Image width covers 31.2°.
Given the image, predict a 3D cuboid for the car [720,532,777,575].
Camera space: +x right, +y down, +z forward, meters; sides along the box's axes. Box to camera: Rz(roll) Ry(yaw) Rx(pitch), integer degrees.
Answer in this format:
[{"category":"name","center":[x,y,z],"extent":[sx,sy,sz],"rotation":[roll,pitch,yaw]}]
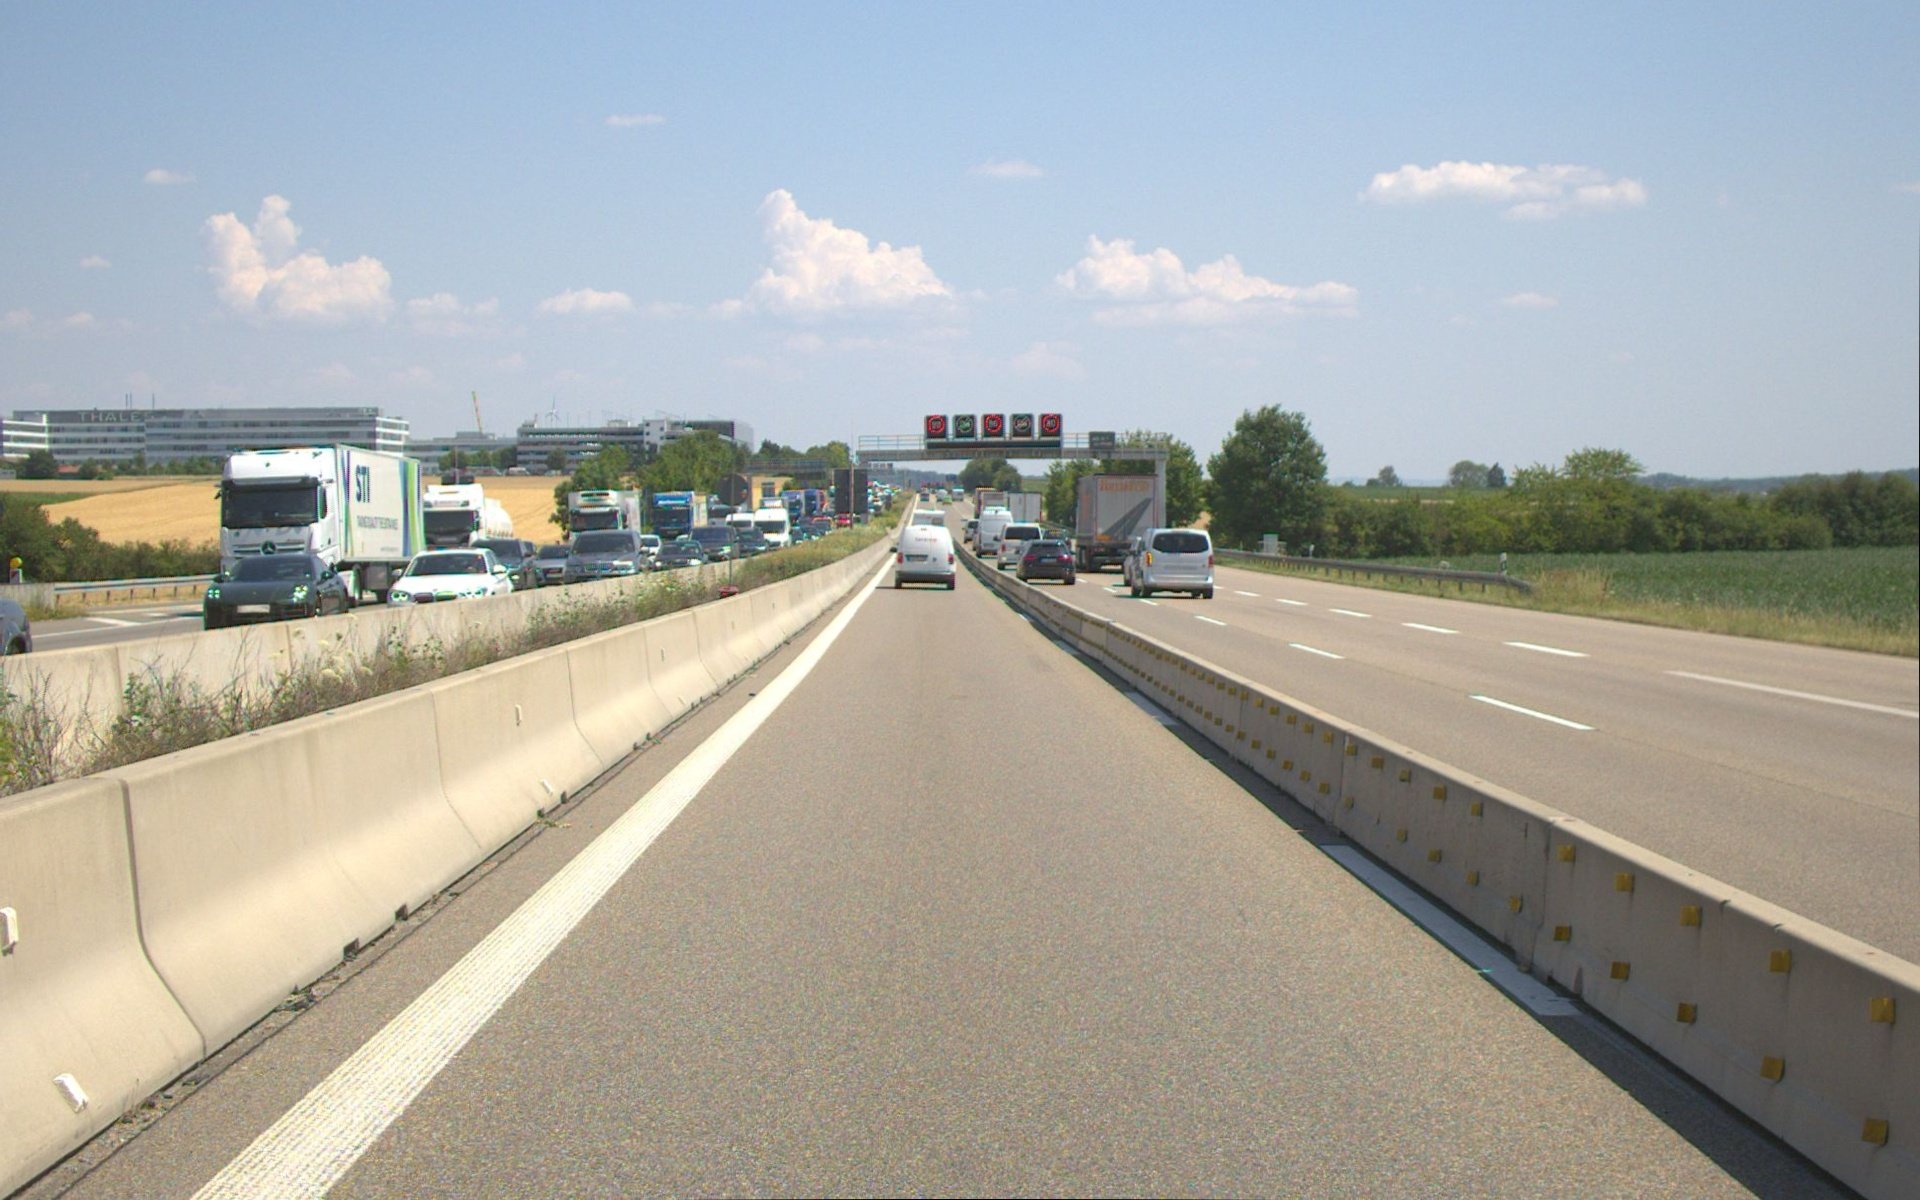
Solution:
[{"category":"car","center":[-7.925,-1.774,129.148],"extent":[1.843,1.564,5.345],"rotation":[0,1,0]}]

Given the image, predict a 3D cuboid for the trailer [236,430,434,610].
[{"category":"trailer","center":[-16.430,-2.104,91.394],"extent":[2.892,4.360,12.994],"rotation":[-2,1,-1]}]

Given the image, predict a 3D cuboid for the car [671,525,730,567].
[{"category":"car","center":[-8.592,-1.803,114.161],"extent":[1.655,1.347,4.267],"rotation":[0,1,0]}]

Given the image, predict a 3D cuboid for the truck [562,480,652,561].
[{"category":"truck","center":[-16.676,-3.768,163.109],"extent":[2.795,3.597,13.289],"rotation":[-2,1,0]}]

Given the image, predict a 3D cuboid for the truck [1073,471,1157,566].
[{"category":"truck","center":[6.606,-3.458,147.198],"extent":[3.271,3.953,4.913],"rotation":[1,1,-1]}]

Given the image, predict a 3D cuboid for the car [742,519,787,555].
[{"category":"car","center":[-8.692,-2.827,153.115],"extent":[1.782,1.584,4.541],"rotation":[0,1,0]}]

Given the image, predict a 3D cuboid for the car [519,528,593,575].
[{"category":"car","center":[-13.111,-1.582,111.820],"extent":[1.846,1.477,4.922],"rotation":[0,1,0]}]

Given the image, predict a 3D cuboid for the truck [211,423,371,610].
[{"category":"truck","center":[-16.348,-2.030,84.294],"extent":[2.870,4.360,4.903],"rotation":[-2,1,-1]}]

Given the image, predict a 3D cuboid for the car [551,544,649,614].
[{"category":"car","center":[-8.627,-0.520,82.655],"extent":[1.890,1.611,4.821],"rotation":[1,1,-1]}]

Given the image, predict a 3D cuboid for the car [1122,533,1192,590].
[{"category":"car","center":[6.412,-1.266,112.115],"extent":[1.993,1.788,4.000],"rotation":[1,1,-1]}]

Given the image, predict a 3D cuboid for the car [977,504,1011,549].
[{"category":"car","center":[1.850,-3.988,187.595],"extent":[1.773,2.384,4.000],"rotation":[1,1,-1]}]

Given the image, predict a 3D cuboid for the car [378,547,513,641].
[{"category":"car","center":[-8.747,-0.129,58.742],"extent":[1.674,1.514,4.508],"rotation":[1,1,-1]}]

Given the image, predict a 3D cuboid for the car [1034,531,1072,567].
[{"category":"car","center":[5.269,-2.909,195.193],"extent":[1.993,2.007,4.000],"rotation":[1,1,-1]}]

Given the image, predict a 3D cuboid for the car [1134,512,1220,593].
[{"category":"car","center":[5.827,-1.281,92.829],"extent":[1.993,2.112,4.000],"rotation":[1,1,-1]}]

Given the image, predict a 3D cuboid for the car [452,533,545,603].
[{"category":"car","center":[-12.372,-0.876,92.423],"extent":[1.993,1.809,4.000],"rotation":[1,1,-1]}]

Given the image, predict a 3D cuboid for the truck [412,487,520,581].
[{"category":"truck","center":[-21.278,-2.902,148.819],"extent":[2.899,3.764,13.290],"rotation":[-2,1,-1]}]

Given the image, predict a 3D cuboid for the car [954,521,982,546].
[{"category":"car","center":[0.598,-4.997,259.278],"extent":[1.993,1.829,4.000],"rotation":[1,1,-1]}]

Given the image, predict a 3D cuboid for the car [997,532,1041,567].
[{"category":"car","center":[2.509,-2.150,146.869],"extent":[1.773,1.442,4.000],"rotation":[1,1,-1]}]

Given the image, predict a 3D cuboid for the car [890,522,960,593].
[{"category":"car","center":[-1.028,-1.233,100.129],"extent":[1.993,2.007,4.000],"rotation":[1,1,-1]}]

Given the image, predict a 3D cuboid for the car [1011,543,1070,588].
[{"category":"car","center":[2.622,-1.138,112.819],"extent":[1.773,1.442,4.000],"rotation":[1,1,-1]}]

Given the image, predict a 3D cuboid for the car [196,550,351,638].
[{"category":"car","center":[-12.189,-0.145,61.322],"extent":[1.812,1.481,4.963],"rotation":[1,1,-1]}]

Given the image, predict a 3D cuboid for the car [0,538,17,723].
[{"category":"car","center":[-8.638,0.261,26.530],"extent":[1.655,1.514,4.000],"rotation":[1,1,-1]}]

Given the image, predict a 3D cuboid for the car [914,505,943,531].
[{"category":"car","center":[-2.254,-5.852,246.138],"extent":[1.993,1.829,4.000],"rotation":[1,1,-1]}]

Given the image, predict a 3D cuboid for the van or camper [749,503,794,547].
[{"category":"van or camper","center":[-9.881,-3.964,180.940],"extent":[2.035,2.214,7.209],"rotation":[1,1,-1]}]

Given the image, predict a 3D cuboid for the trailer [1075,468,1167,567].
[{"category":"trailer","center":[6.637,-3.397,143.140],"extent":[3.277,3.953,9.113],"rotation":[1,1,-1]}]
